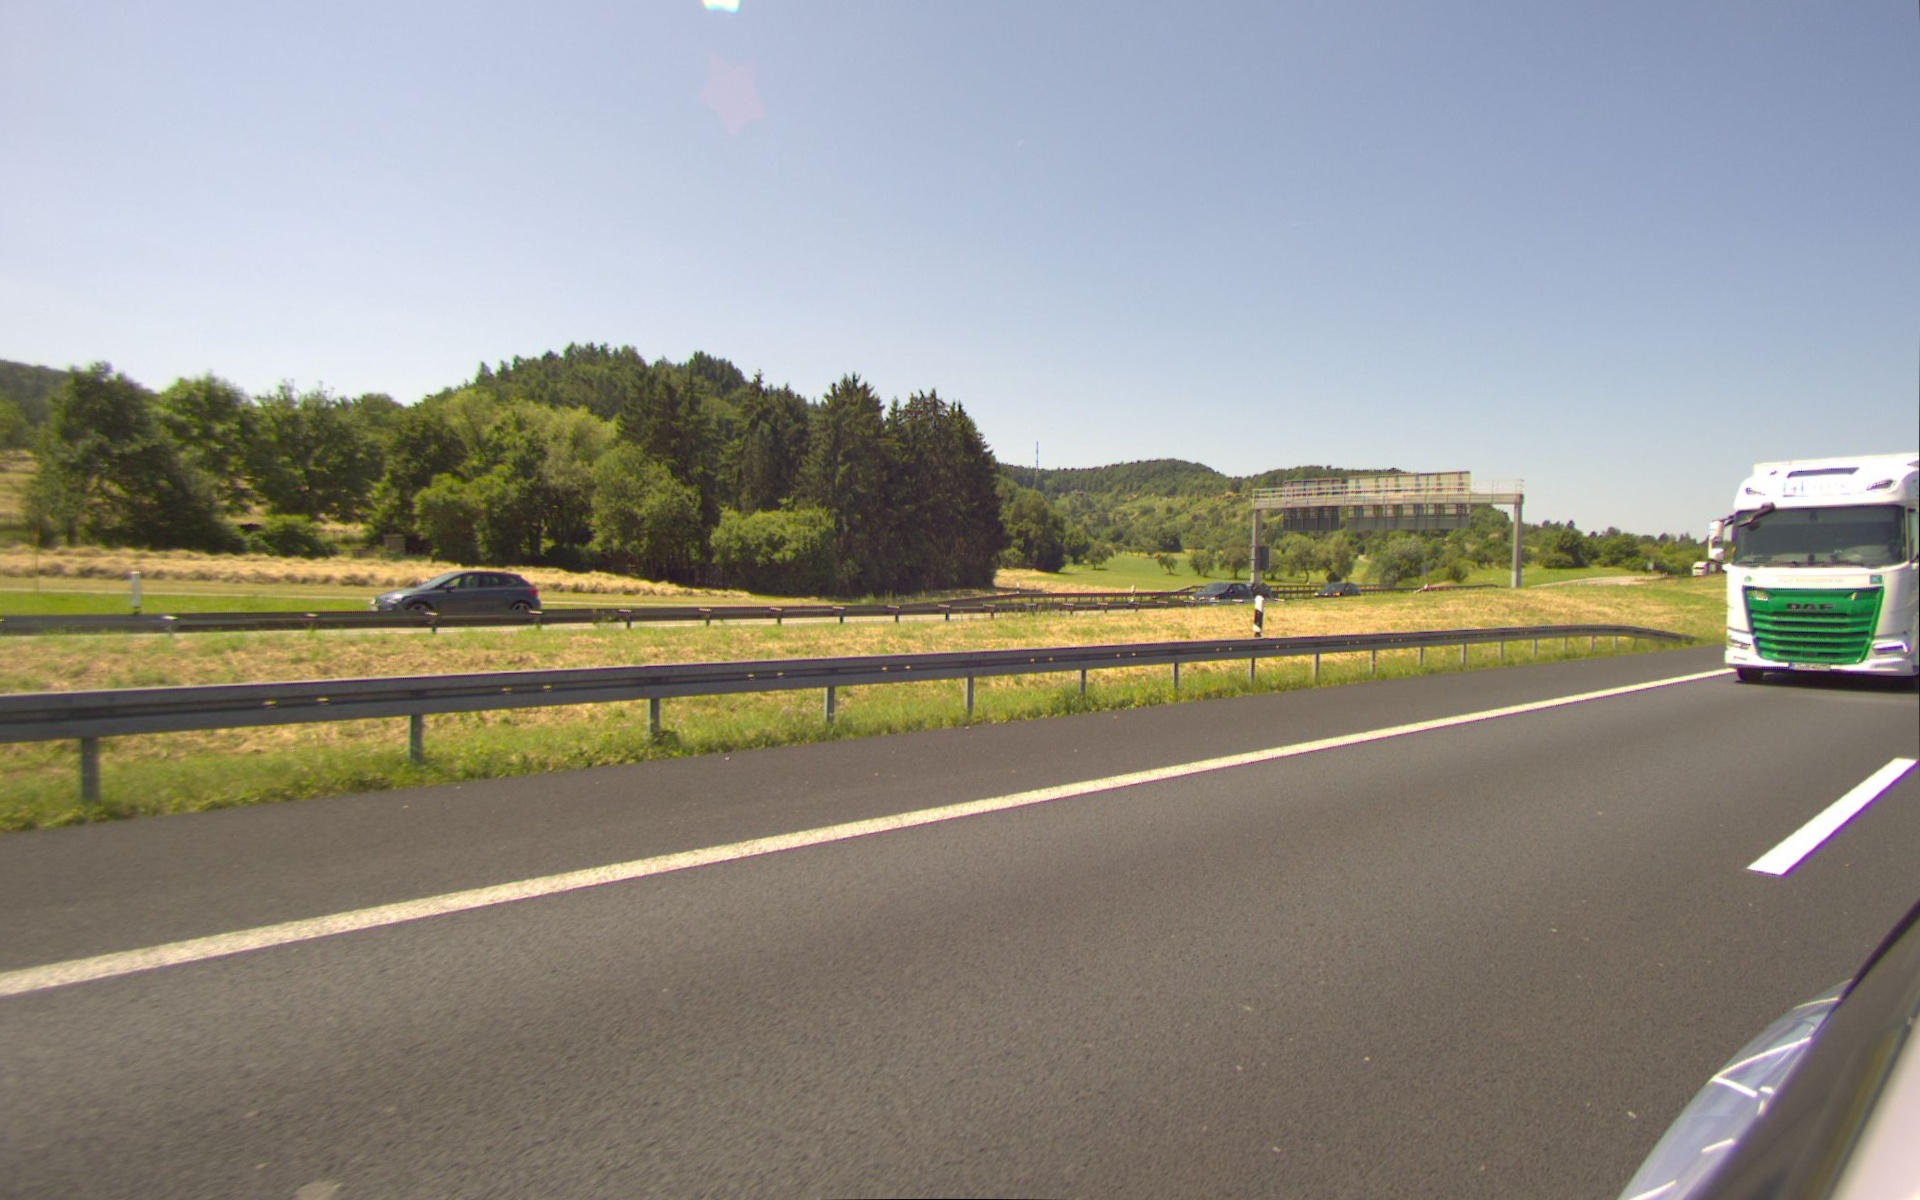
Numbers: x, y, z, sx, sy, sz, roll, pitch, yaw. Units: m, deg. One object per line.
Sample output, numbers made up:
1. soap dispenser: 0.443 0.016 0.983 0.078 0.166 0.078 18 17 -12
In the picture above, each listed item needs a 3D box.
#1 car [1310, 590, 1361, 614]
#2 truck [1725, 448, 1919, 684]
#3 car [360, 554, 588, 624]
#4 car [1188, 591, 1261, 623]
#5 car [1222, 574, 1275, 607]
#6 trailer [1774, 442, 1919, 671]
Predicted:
1. car: 24.379 0.108 65.673 1.886 1.491 3.808 0 1 42
2. truck: 15.671 -0.556 17.875 4.328 3.638 2.646 -1 0 -41
3. car: -12.800 -0.300 26.884 5.139 1.683 1.996 -1 0 -43
4. car: 12.284 0.294 46.879 1.775 1.417 3.705 0 1 42
5. car: 18.528 -0.613 64.862 1.989 2.039 3.946 0 0 37
6. trailer: 22.750 -0.841 24.172 14.635 4.241 2.660 0 0 -41
